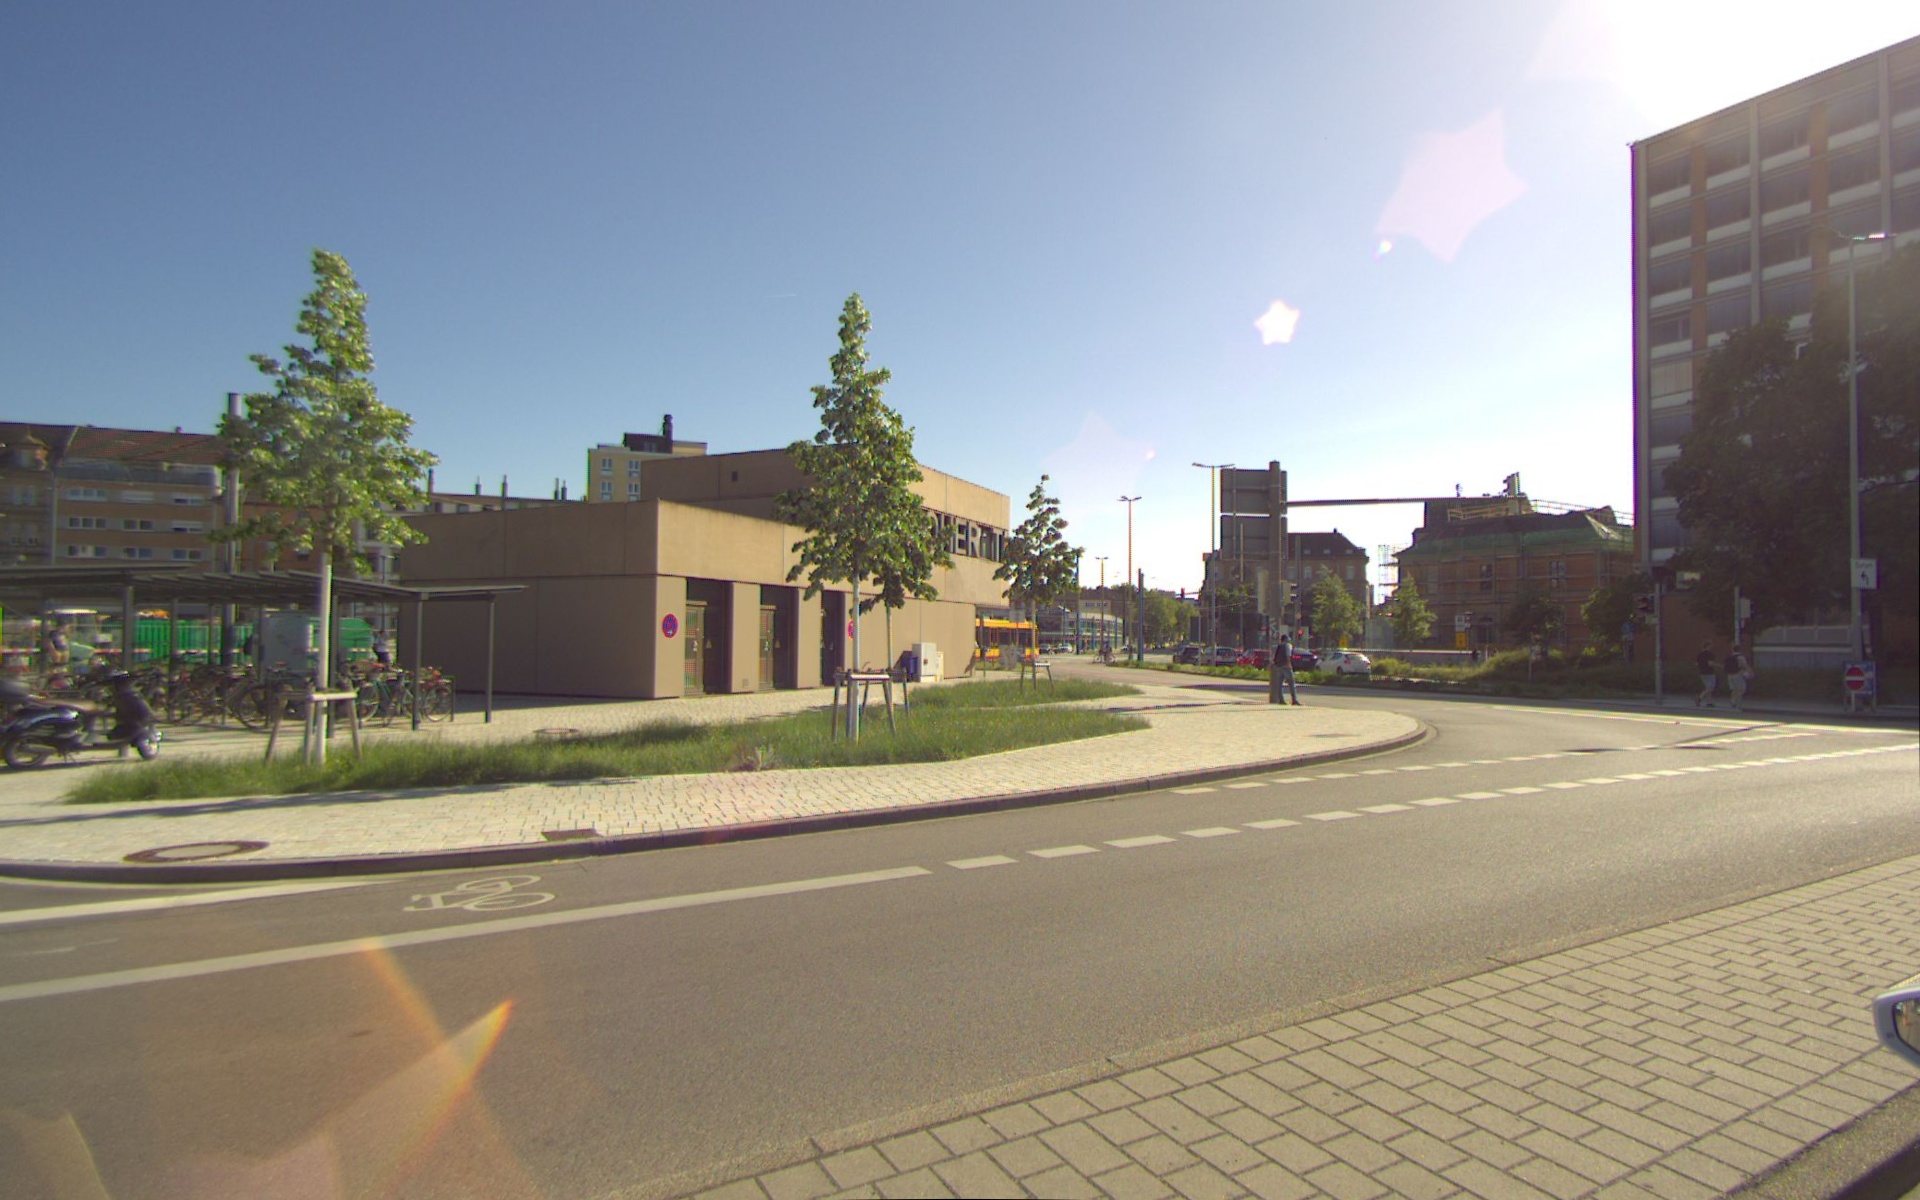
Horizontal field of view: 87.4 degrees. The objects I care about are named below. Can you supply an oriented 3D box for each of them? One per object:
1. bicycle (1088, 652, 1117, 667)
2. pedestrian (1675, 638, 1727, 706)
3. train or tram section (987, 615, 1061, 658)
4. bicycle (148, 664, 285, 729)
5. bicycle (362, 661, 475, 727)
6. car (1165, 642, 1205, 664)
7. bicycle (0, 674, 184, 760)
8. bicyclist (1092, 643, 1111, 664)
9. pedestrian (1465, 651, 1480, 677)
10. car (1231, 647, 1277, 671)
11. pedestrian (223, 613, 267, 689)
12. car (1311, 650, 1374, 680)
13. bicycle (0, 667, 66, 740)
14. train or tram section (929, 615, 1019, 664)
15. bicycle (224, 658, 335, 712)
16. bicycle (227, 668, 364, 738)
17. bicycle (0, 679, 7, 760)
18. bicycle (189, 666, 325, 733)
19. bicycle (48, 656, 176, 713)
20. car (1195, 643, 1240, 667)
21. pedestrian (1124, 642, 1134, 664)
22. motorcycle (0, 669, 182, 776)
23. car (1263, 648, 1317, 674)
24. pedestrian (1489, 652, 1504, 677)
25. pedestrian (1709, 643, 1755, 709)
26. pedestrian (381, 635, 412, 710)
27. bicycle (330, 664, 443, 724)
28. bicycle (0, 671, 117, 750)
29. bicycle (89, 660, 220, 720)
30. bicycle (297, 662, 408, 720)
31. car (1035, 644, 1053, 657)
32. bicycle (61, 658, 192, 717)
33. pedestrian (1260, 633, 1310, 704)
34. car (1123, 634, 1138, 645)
[{"bbox_3d":[12.073,5.039,84.976,2.370,1.076,0.811,2,0,11],"label":"bicycle"},{"bbox_3d":[20.902,2.008,28.348,0.895,1.887,0.813,1,-2,-16],"label":"pedestrian"},{"bbox_3d":[5.483,2.953,83.741,2.649,3.275,10.595,2,0,24],"label":"train or tram section"},{"bbox_3d":[-12.896,1.650,17.489,0.449,1.022,1.902,0,-2,26],"label":"bicycle"},{"bbox_3d":[-9.924,1.698,18.490,0.449,1.112,1.902,0,-2,26],"label":"bicycle"},{"bbox_3d":[16.786,3.930,74.996,1.760,1.528,3.880,1,-2,-6],"label":"car"},{"bbox_3d":[-11.812,1.558,13.723,0.449,1.022,1.902,0,-2,26],"label":"bicycle"},{"bbox_3d":[12.008,4.517,84.993,1.544,1.655,0.811,2,0,10],"label":"bicyclist"},{"bbox_3d":[35.229,4.405,68.998,0.754,1.753,0.675,2,-2,-39],"label":"pedestrian"},{"bbox_3d":[20.215,4.033,69.248,1.760,1.528,3.880,1,-2,-6],"label":"car"},{"bbox_3d":[-17.775,1.254,24.971,0.555,1.858,0.683,0,-2,27],"label":"pedestrian"},{"bbox_3d":[21.257,3.594,55.931,1.760,1.528,3.880,1,-2,-6],"label":"car"},{"bbox_3d":[-14.156,1.510,14.446,0.449,1.022,1.902,0,-2,26],"label":"bicycle"},{"bbox_3d":[1.224,2.776,74.031,2.649,3.275,10.595,2,0,24],"label":"train or tram section"},{"bbox_3d":[-14.070,1.730,20.828,0.449,1.022,1.902,0,-2,26],"label":"bicycle"},{"bbox_3d":[-10.908,1.664,16.570,0.449,1.022,1.902,0,-2,26],"label":"bicycle"},{"bbox_3d":[-12.743,1.487,12.003,0.449,1.022,1.902,0,-2,26],"label":"bicycle"},{"bbox_3d":[-11.886,1.654,17.059,0.449,1.022,1.902,0,-2,26],"label":"bicycle"},{"bbox_3d":[-16.697,1.641,19.838,0.449,1.022,1.902,0,-2,26],"label":"bicycle"},{"bbox_3d":[17.467,3.694,68.269,1.760,1.528,3.880,1,-2,-6],"label":"car"},{"bbox_3d":[14.004,4.415,83.151,0.761,1.786,0.706,0,-2,10],"label":"pedestrian"},{"bbox_3d":[-10.917,1.477,12.470,0.508,1.166,1.947,0,-2,25],"label":"motorcycle"},{"bbox_3d":[20.585,3.768,62.788,1.760,1.528,3.880,1,-2,-6],"label":"car"},{"bbox_3d":[37.330,4.473,69.911,0.752,1.753,0.677,2,-2,-32],"label":"pedestrian"},{"bbox_3d":[21.123,2.070,27.476,0.748,1.753,0.680,1,-2,-16],"label":"pedestrian"},{"bbox_3d":[-15.685,2.020,27.961,0.710,2.040,0.682,2,-4,-30],"label":"pedestrian"},{"bbox_3d":[-10.704,1.736,18.819,0.449,1.022,1.902,0,-2,26],"label":"bicycle"},{"bbox_3d":[-13.026,1.538,14.014,0.449,1.022,1.902,0,-2,26],"label":"bicycle"},{"bbox_3d":[-15.078,1.658,18.864,0.449,1.022,1.902,0,-2,26],"label":"bicycle"},{"bbox_3d":[-11.794,1.745,19.576,0.449,1.022,1.902,0,-2,26],"label":"bicycle"},{"bbox_3d":[11.454,6.844,136.911,1.709,1.672,4.002,0,-2,17],"label":"car"},{"bbox_3d":[-15.914,1.646,19.240,0.449,1.022,1.902,0,-2,26],"label":"bicycle"},{"bbox_3d":[8.255,1.733,25.538,1.044,1.753,0.652,1,-2,-16],"label":"pedestrian"},{"bbox_3d":[34.372,8.010,202.472,1.961,2.040,3.998,2,0,23],"label":"car"}]
